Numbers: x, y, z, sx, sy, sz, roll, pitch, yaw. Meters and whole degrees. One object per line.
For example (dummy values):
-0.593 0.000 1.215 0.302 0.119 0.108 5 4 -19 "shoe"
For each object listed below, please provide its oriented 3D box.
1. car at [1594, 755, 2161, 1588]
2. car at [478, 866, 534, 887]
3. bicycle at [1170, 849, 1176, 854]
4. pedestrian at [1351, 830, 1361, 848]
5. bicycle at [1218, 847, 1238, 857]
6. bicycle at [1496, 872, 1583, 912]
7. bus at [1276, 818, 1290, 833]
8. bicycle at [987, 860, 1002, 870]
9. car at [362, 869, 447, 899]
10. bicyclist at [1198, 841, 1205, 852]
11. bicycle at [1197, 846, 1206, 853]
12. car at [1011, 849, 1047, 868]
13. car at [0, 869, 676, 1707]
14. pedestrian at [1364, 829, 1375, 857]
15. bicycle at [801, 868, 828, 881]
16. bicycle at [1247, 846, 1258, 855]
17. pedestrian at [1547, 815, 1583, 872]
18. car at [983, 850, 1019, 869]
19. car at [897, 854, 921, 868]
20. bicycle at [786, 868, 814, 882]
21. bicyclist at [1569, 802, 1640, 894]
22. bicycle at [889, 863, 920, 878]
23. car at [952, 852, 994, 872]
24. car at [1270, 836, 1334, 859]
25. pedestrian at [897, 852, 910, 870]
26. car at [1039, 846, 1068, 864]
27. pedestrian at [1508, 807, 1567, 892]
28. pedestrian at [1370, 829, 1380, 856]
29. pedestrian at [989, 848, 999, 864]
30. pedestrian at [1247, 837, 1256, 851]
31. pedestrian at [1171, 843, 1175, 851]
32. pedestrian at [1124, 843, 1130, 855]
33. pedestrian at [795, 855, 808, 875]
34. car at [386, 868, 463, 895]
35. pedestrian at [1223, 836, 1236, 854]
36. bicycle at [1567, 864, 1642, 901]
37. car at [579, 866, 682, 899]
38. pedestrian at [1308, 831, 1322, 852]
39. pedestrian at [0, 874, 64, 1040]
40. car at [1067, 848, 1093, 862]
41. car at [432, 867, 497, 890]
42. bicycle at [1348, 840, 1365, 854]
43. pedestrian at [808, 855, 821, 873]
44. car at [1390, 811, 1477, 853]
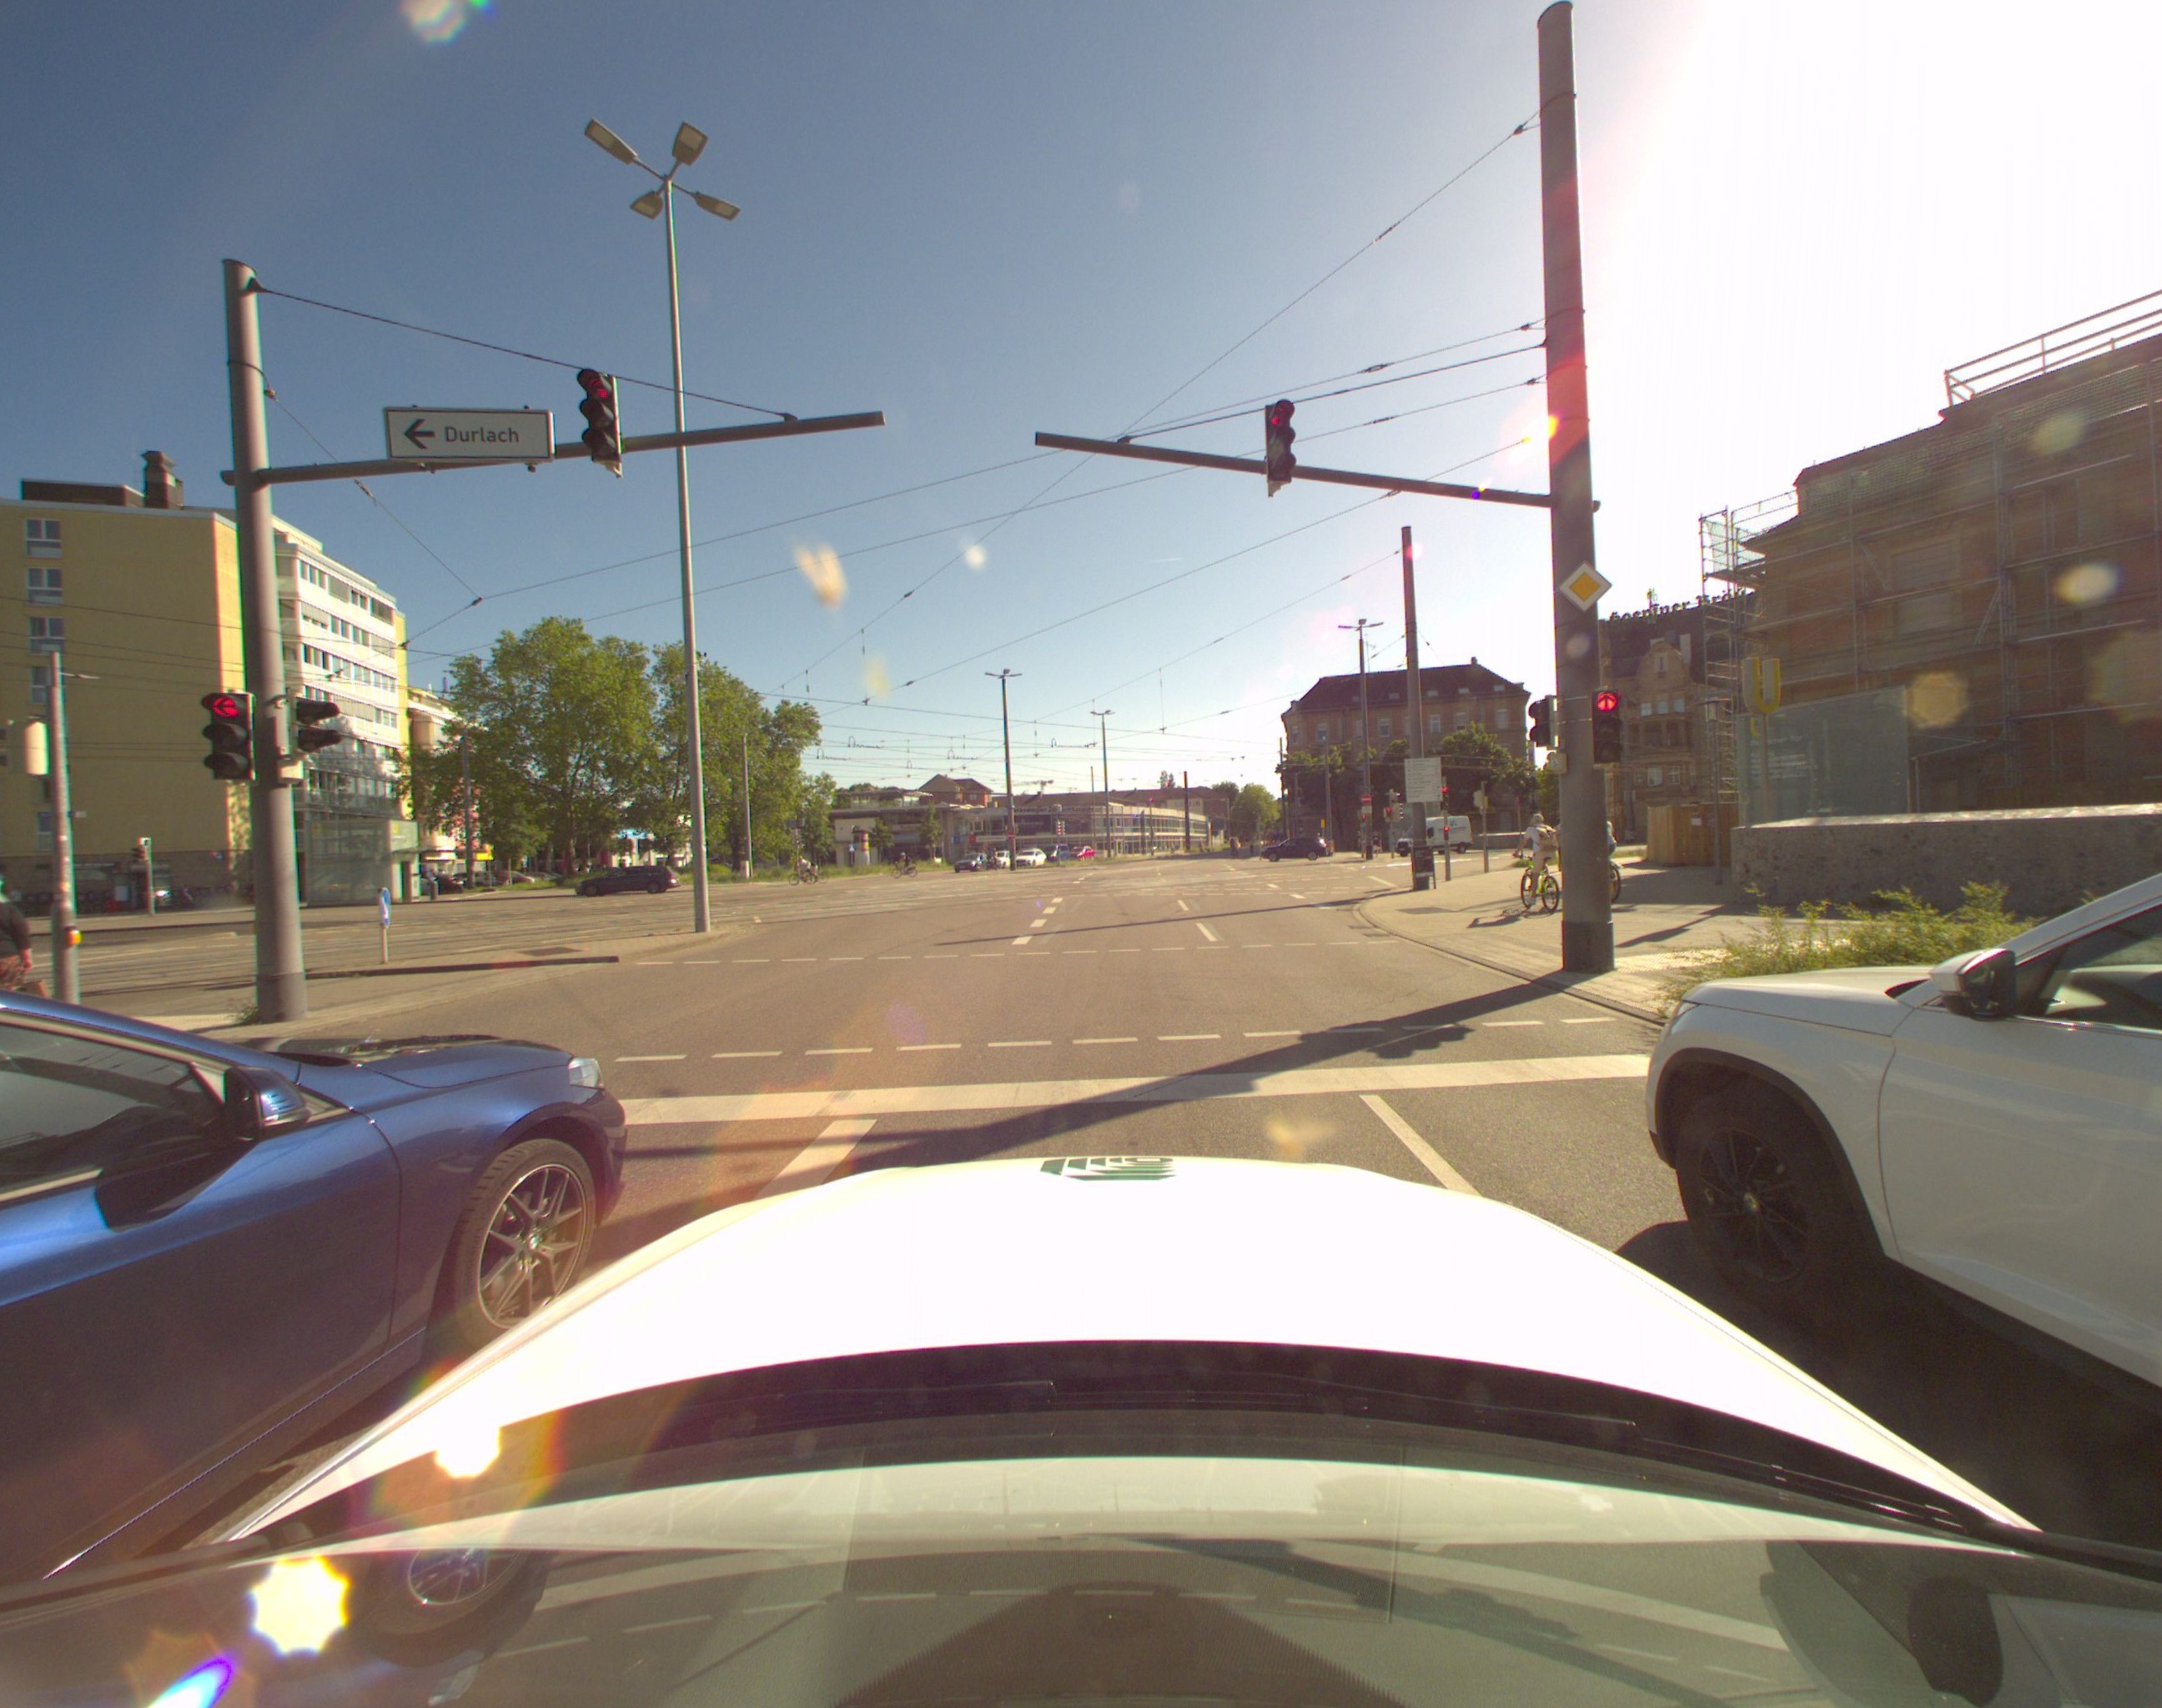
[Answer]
2.943 0.600 1.183 1.689 1.641 4.297 -2 0 1 "car"
-51.189 1.958 72.567 3.742 1.662 1.585 -2 0 -17 "car"
13.303 -0.360 117.680 0.418 0.718 1.484 -2 0 28 "bicycle"
23.746 -1.288 70.301 0.541 1.517 0.711 -2 0 43 "pedestrian"
13.378 -0.181 74.012 1.942 0.870 0.736 -2 0 -43 "bicycle"
8.843 0.716 15.774 0.536 0.655 1.722 -5 1 -6 "bicycle"
62.064 -8.633 249.357 3.809 3.607 24.963 -1 0 15 "bus"
-6.569 0.816 62.085 0.419 0.718 1.642 -2 0 19 "bicycle"
-42.722 1.884 51.485 3.742 1.662 1.585 -2 0 -17 "car"
18.656 -1.201 126.427 0.802 1.623 0.934 -2 0 26 "bicyclist"
18.799 -0.757 126.692 0.802 1.045 2.140 -2 0 26 "bicycle"
-4.210 0.369 66.537 1.613 1.382 3.755 -2 0 17 "car"
-2.624 0.798 1.327 1.703 1.445 4.035 -1 0 3 "car"
21.625 -0.828 61.003 0.574 2.013 0.449 -3 0 -16 "pedestrian"
-17.269 1.334 52.862 1.633 0.718 0.421 -2 0 -18 "bicycle"
17.861 -0.380 84.953 0.736 0.870 1.941 -2 0 22 "bicycle"
16.275 -0.356 27.404 0.887 1.859 0.933 -2 0 37 "pedestrian"
-6.709 0.420 68.489 1.613 1.424 3.702 -2 0 17 "car"
-21.491 0.850 101.968 1.958 1.706 4.085 -2 0 2 "car"
-17.734 1.331 51.315 1.635 0.758 0.421 -2 0 -21 "bicycle"
10.678 -0.119 16.641 0.745 1.778 0.924 -3 0 -1 "bicyclist"
-12.234 1.151 56.417 2.009 0.913 0.559 -2 0 -16 "bicycle"
-8.251 0.589 62.570 1.689 1.354 3.719 -2 0 19 "car"
15.594 -0.462 57.592 4.220 1.503 1.711 -2 0 14 "car"
-12.302 0.487 56.407 0.795 1.204 0.557 -2 0 -16 "pedestrian"
-2.684 0.070 80.525 1.613 1.692 3.702 -2 0 17 "car"
8.778 -0.090 15.682 0.547 1.562 0.856 -2 0 -6 "pedestrian"
22.224 -0.844 61.563 0.461 2.013 0.449 -3 0 -16 "pedestrian"
-6.624 0.137 62.014 0.419 1.204 0.753 -2 0 19 "pedestrian"
17.834 -1.047 84.962 0.739 1.523 0.722 -2 0 21 "pedestrian"
13.282 -1.028 117.690 0.418 1.204 0.685 -2 0 28 "pedestrian"
6.598 -0.677 115.914 0.537 1.688 0.634 -2 0 40 "pedestrian"
-17.636 0.689 51.363 0.750 1.204 0.421 -2 0 -21 "pedestrian"
-45.579 1.910 56.606 3.742 1.662 1.585 -2 0 -17 "car"
13.522 -0.840 74.239 0.722 1.632 0.795 -2 0 -43 "pedestrian"
10.621 0.568 16.560 0.535 0.655 1.467 -3 0 -1 "bicycle"
-22.857 1.428 41.493 4.222 1.400 1.848 -2 0 -18 "car"
19.117 -1.035 66.488 0.722 1.632 0.749 -2 0 -42 "pedestrian"
-10.410 0.992 7.790 0.353 1.555 0.766 -2 0 30 "pedestrian"
-0.109 0.064 87.588 1.613 1.364 3.703 -2 0 19 "car"
-49.637 1.945 65.638 3.742 1.662 1.585 -2 0 -17 "car"
23.805 -0.597 70.343 0.541 1.120 2.031 -2 0 43 "bicycle"
-17.315 0.647 52.855 0.749 1.127 0.421 -2 0 -18 "pedestrian"
25.109 -1.544 57.943 5.929 2.744 2.128 -2 0 -23 "car"
